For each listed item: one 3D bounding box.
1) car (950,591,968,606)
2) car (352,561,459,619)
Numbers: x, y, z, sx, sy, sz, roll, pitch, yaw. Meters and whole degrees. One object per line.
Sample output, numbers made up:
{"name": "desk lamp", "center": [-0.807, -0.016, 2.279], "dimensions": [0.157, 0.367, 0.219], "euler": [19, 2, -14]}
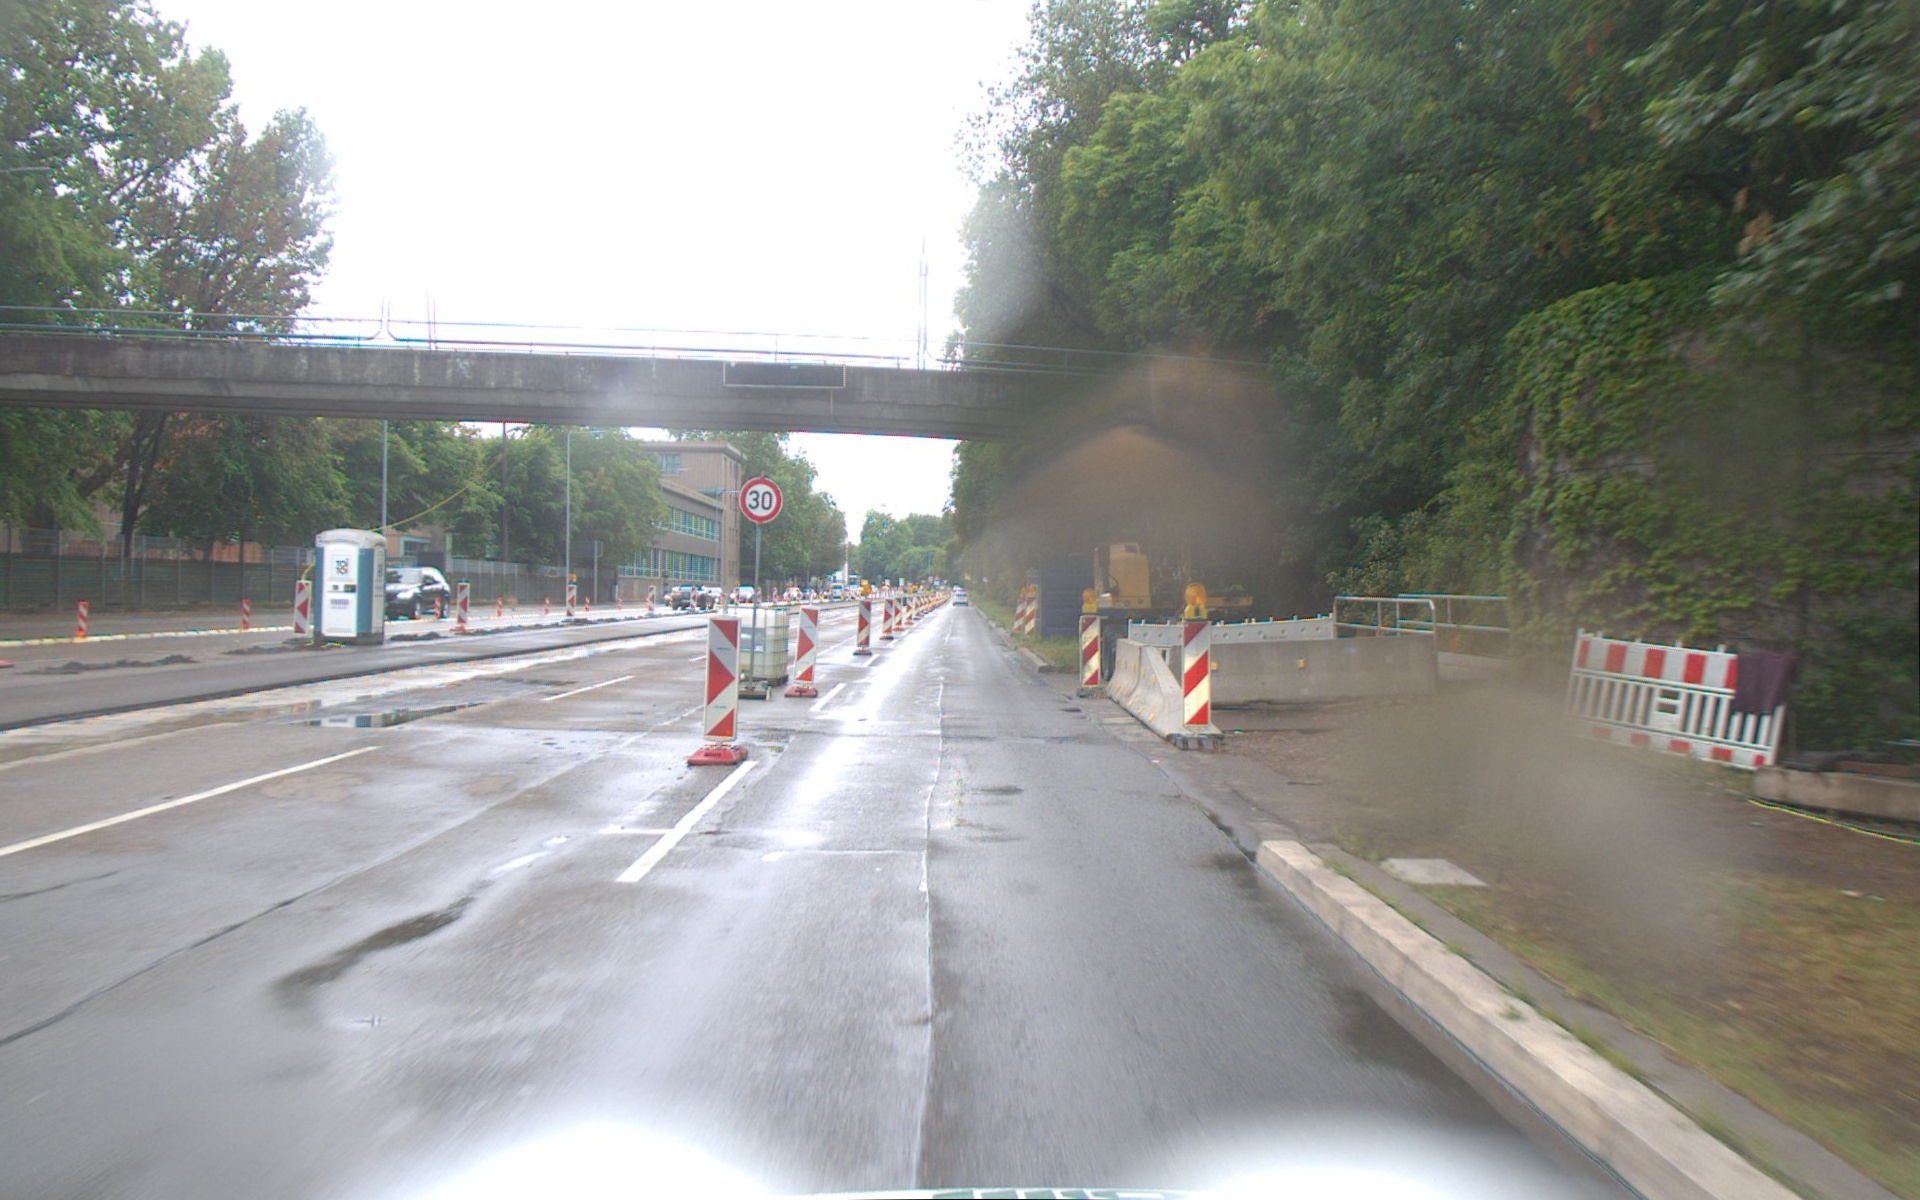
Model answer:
{"name": "car", "center": [-0.141, -0.175, 187.328], "dimensions": [1.953, 1.668, 3.999], "euler": [0, 0, -1]}
{"name": "car", "center": [-18.131, -0.311, 54.319], "dimensions": [1.930, 1.837, 4.608], "euler": [0, 0, 1]}
